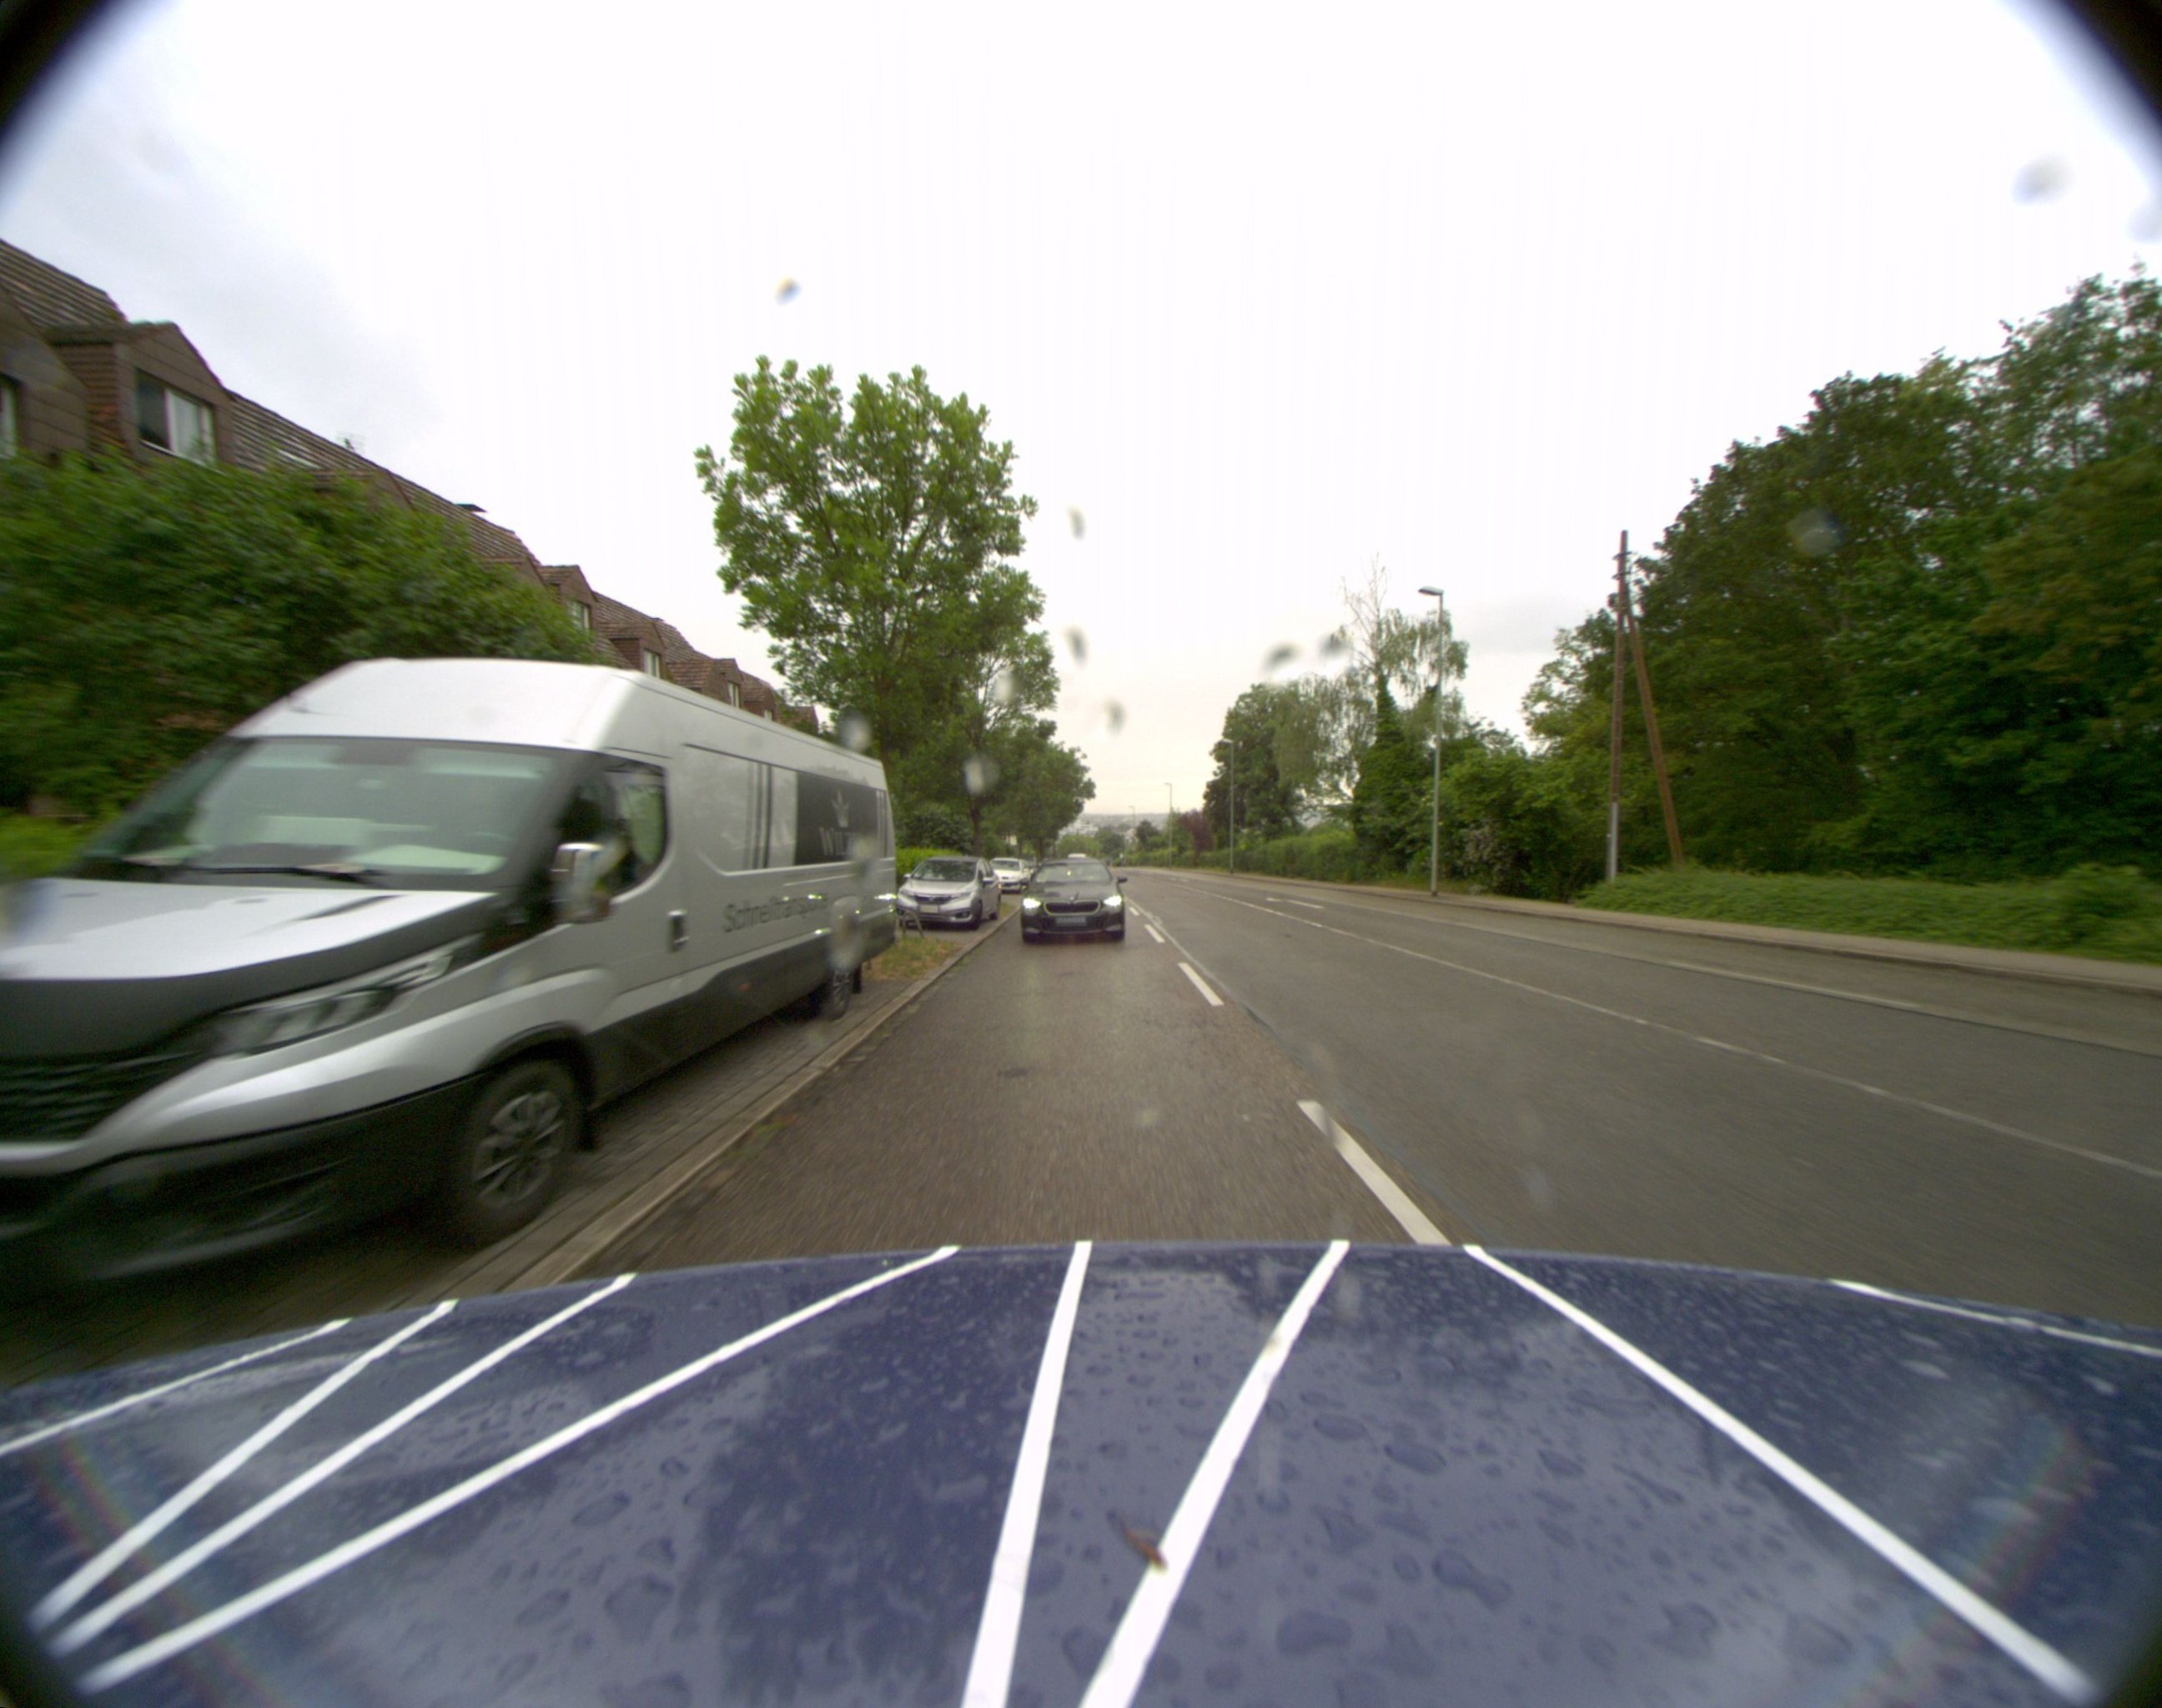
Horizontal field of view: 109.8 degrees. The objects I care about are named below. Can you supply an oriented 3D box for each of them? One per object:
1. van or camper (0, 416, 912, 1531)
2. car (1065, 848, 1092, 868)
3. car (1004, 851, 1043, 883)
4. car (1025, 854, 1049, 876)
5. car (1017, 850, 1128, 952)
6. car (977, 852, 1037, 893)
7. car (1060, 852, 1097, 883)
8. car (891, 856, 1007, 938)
[{"bbox_3d":[-3.220,0.273,5.462,2.203,2.636,7.301,1,0,1],"label":"van or camper"},{"bbox_3d":[-0.233,0.325,65.255,1.999,1.674,4.172,-1,0,-5],"label":"car"},{"bbox_3d":[-3.194,0.683,43.093,1.829,1.668,4.584,1,0,0],"label":"car"},{"bbox_3d":[-3.205,0.800,56.002,1.726,1.503,3.785,1,0,-2],"label":"car"},{"bbox_3d":[-0.143,0.807,15.192,1.829,1.668,4.295,-3,0,0],"label":"car"},{"bbox_3d":[-3.073,0.735,32.369,1.828,1.593,4.474,1,0,3],"label":"car"},{"bbox_3d":[-0.148,0.756,43.857,1.999,1.674,4.173,-1,0,-1],"label":"car"},{"bbox_3d":[-2.802,0.856,16.934,1.672,1.519,3.832,2,1,3],"label":"car"}]
